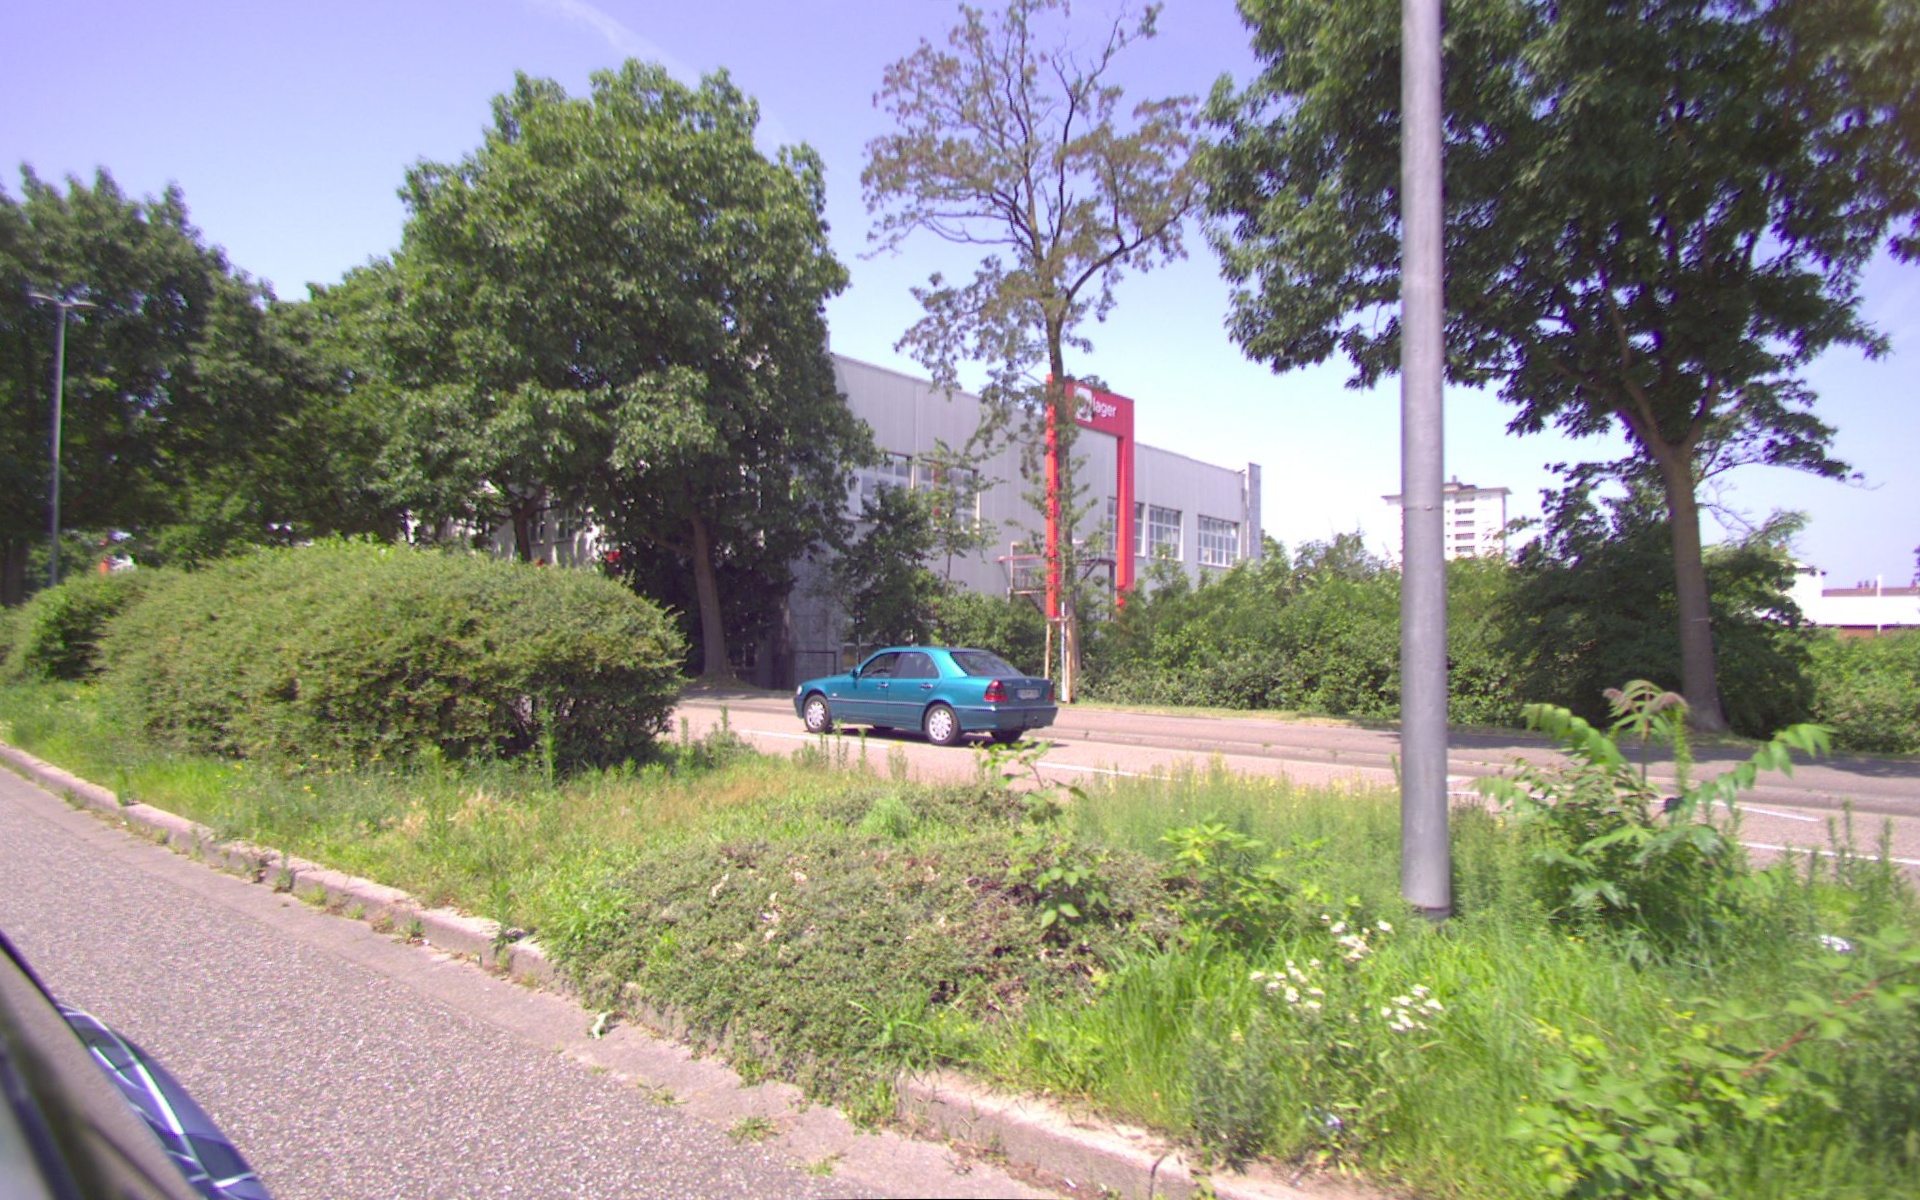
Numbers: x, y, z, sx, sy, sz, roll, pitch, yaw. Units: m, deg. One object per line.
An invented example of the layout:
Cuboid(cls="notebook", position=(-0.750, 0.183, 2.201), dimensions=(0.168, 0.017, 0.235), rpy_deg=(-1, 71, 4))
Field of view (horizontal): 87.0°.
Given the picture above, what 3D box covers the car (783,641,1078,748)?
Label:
Cuboid(cls="car", position=(-0.574, 1.375, 15.548), dimensions=(4.585, 1.398, 1.668), rpy_deg=(-2, -5, 41))
